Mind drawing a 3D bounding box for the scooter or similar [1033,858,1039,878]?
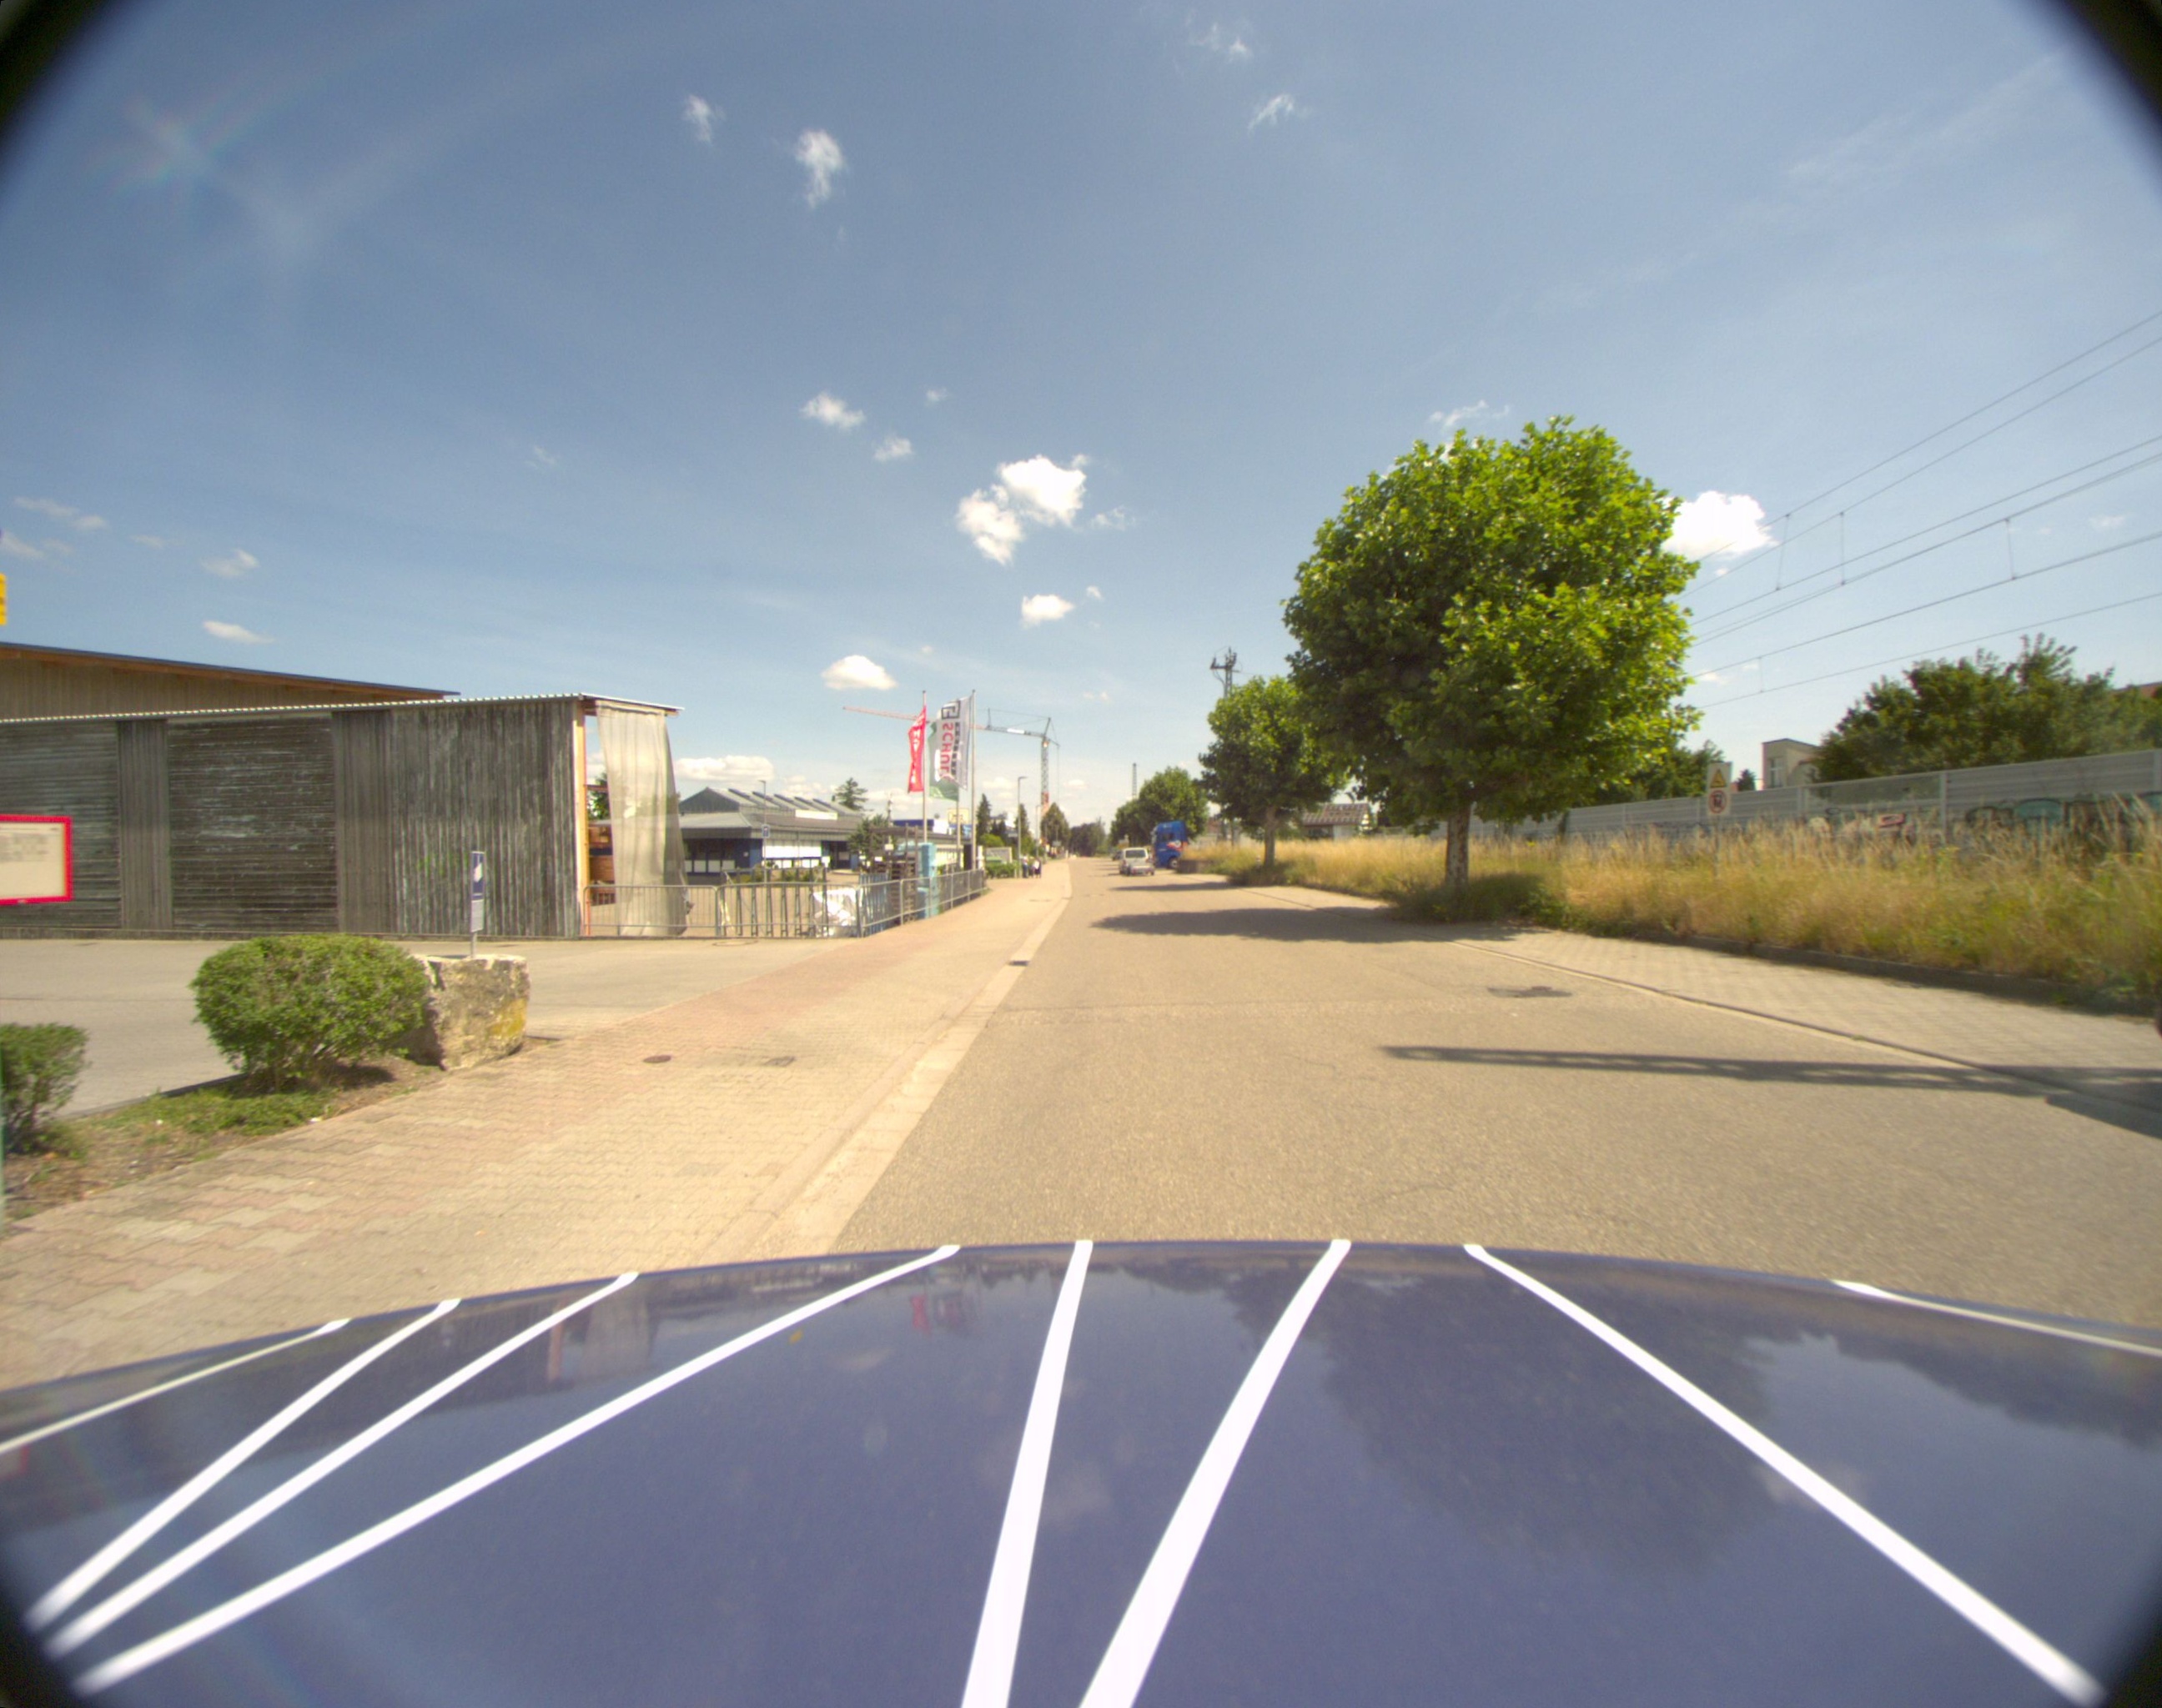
[{"bbox_3d":[-2.869,0.888,48.101,0.334,1.191,0.397,0,3,0],"label":"scooter or similar"}]

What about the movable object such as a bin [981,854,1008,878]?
[{"bbox_3d":[-5.509,0.756,48.424,1.269,1.450,1.046,-3,1,-38],"label":"movable object such as a bin"}]

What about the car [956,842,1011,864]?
[{"bbox_3d":[-7.738,-0.092,60.697,4.224,1.625,1.799,0,3,-2],"label":"car"}]

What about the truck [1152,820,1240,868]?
[{"bbox_3d":[9.195,-0.805,61.328,6.632,3.801,2.663,0,0,-3],"label":"truck"}]

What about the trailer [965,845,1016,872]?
[{"bbox_3d":[-7.563,0.367,63.613,3.997,2.000,2.001,-2,-3,-1],"label":"trailer"}]

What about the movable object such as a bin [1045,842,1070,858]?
[{"bbox_3d":[-5.212,-0.851,167.927,5.133,3.277,2.390,-1,6,-17],"label":"movable object such as a bin"}]

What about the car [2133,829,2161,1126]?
[{"bbox_3d":[6.616,0.645,2.361,1.746,1.586,3.579,-1,0,0],"label":"car"}]

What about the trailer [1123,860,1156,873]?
[{"bbox_3d":[3.874,0.822,50.898,1.823,0.845,4.222,0,0,0],"label":"trailer"}]

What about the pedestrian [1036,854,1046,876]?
[{"bbox_3d":[-2.593,0.716,49.240,0.595,1.397,0.583,0,3,-1],"label":"pedestrian"}]

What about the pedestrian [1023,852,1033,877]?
[{"bbox_3d":[-3.358,0.672,48.176,0.536,1.531,0.510,1,1,-1],"label":"pedestrian"}]

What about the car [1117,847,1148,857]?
[{"bbox_3d":[7.608,-0.346,112.987,4.438,1.402,1.787,0,1,-3],"label":"car"}]

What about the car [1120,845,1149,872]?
[{"bbox_3d":[3.852,0.290,55.282,1.843,1.847,4.483,-1,1,0],"label":"car"}]

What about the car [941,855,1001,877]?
[{"bbox_3d":[-7.642,0.826,53.099,3.855,1.447,1.817,-1,1,0],"label":"car"}]

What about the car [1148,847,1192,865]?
[{"bbox_3d":[8.608,0.198,73.854,3.981,1.608,1.850,-1,1,-4],"label":"car"}]
